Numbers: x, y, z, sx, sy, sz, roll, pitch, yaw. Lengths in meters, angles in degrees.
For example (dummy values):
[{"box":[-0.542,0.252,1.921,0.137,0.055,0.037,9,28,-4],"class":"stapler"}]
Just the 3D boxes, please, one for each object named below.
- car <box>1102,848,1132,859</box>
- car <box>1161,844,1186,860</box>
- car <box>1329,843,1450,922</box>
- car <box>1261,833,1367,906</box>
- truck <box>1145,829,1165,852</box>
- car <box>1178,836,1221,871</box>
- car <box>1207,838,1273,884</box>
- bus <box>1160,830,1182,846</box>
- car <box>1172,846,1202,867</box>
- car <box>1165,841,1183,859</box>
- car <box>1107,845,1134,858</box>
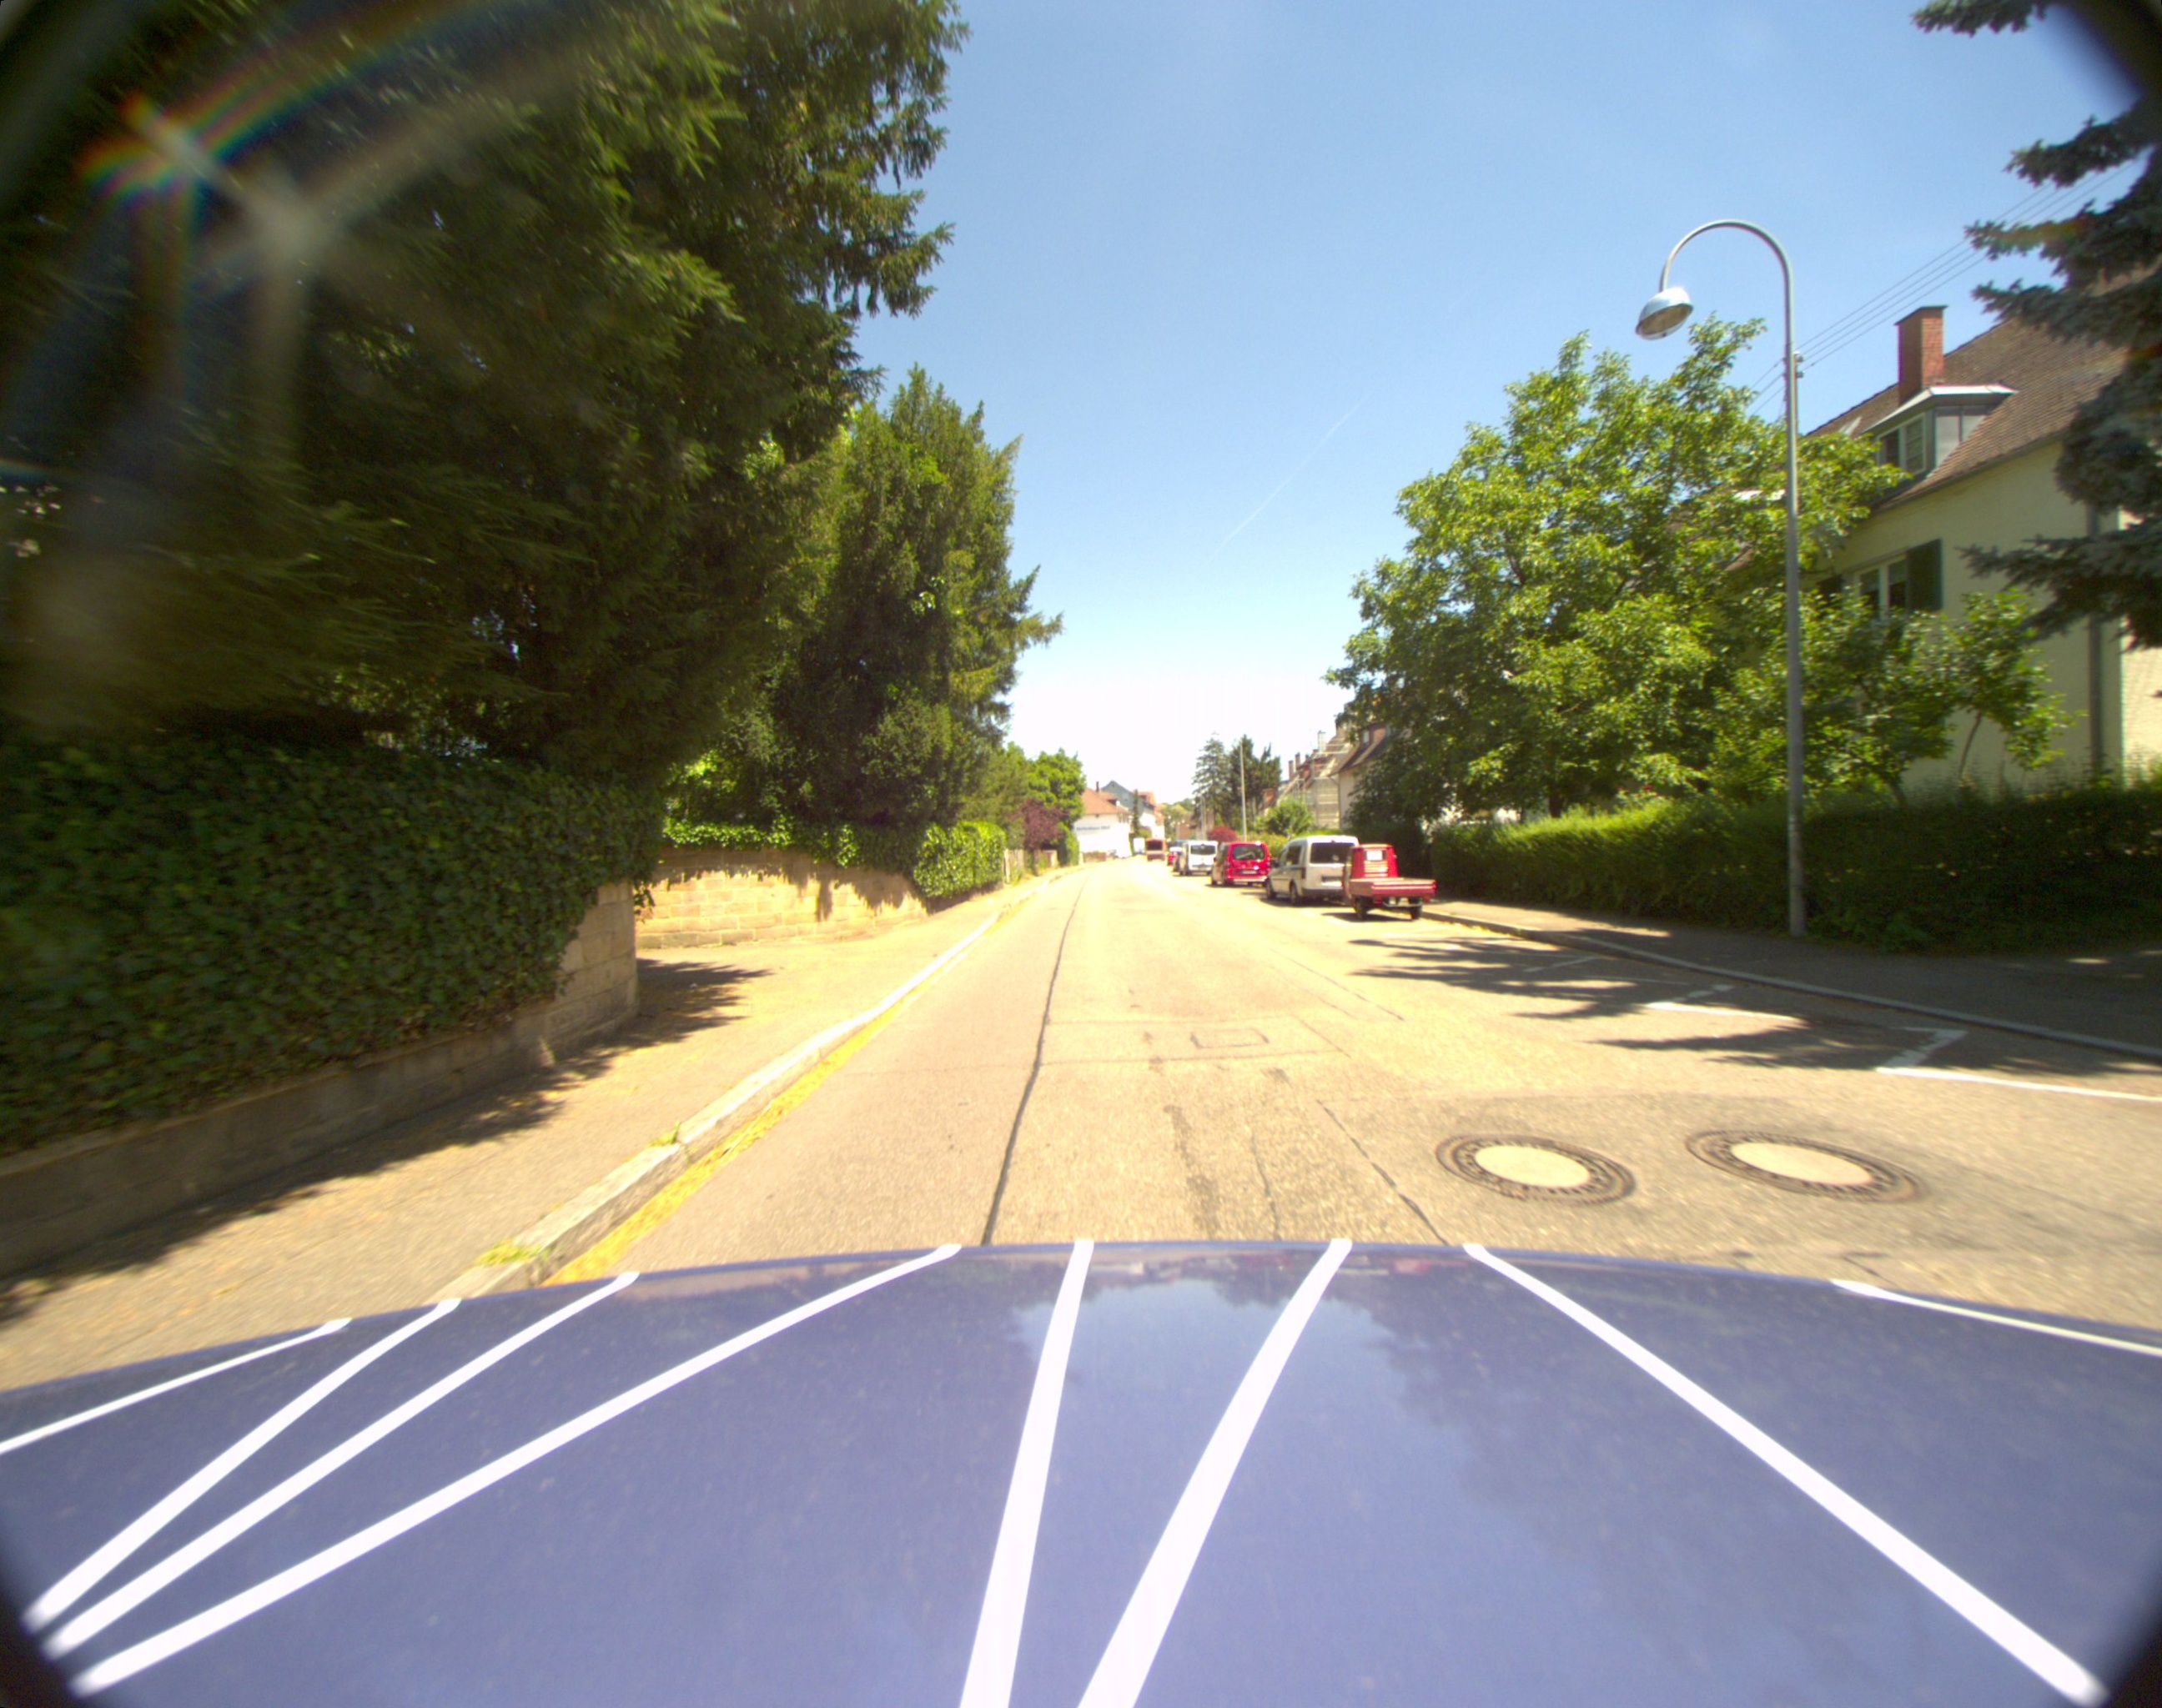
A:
[{"box":[5.869,-0.112,123.992,4.647,1.400,1.770,-6,0,13],"class":"car"},{"box":[8.740,-0.224,71.662,1.763,1.469,4.062,0,1,16],"class":"car"},{"box":[6.282,0.528,15.745,1.415,1.495,2.840,0,1,2],"class":"car"},{"box":[6.171,0.355,20.597,1.652,1.742,4.354,-1,1,2],"class":"car"},{"box":[9.444,-1.681,96.354,2.378,2.814,5.660,-1,1,7],"class":"truck"},{"box":[6.814,-0.050,44.060,1.890,1.870,4.981,-2,1,3],"class":"car"},{"box":[6.326,0.234,30.691,1.762,1.717,4.457,-1,1,1],"class":"car"},{"box":[18.901,-3.323,159.627,2.908,3.063,12.572,-2,1,14],"class":"bus"},{"box":[7.138,0.144,51.344,1.702,1.376,4.236,0,1,4],"class":"car"},{"box":[9.411,-0.377,76.762,1.726,1.726,3.889,-1,1,8],"class":"car"},{"box":[6.514,-0.373,126.469,4.300,1.820,1.740,-6,0,4],"class":"car"}]
